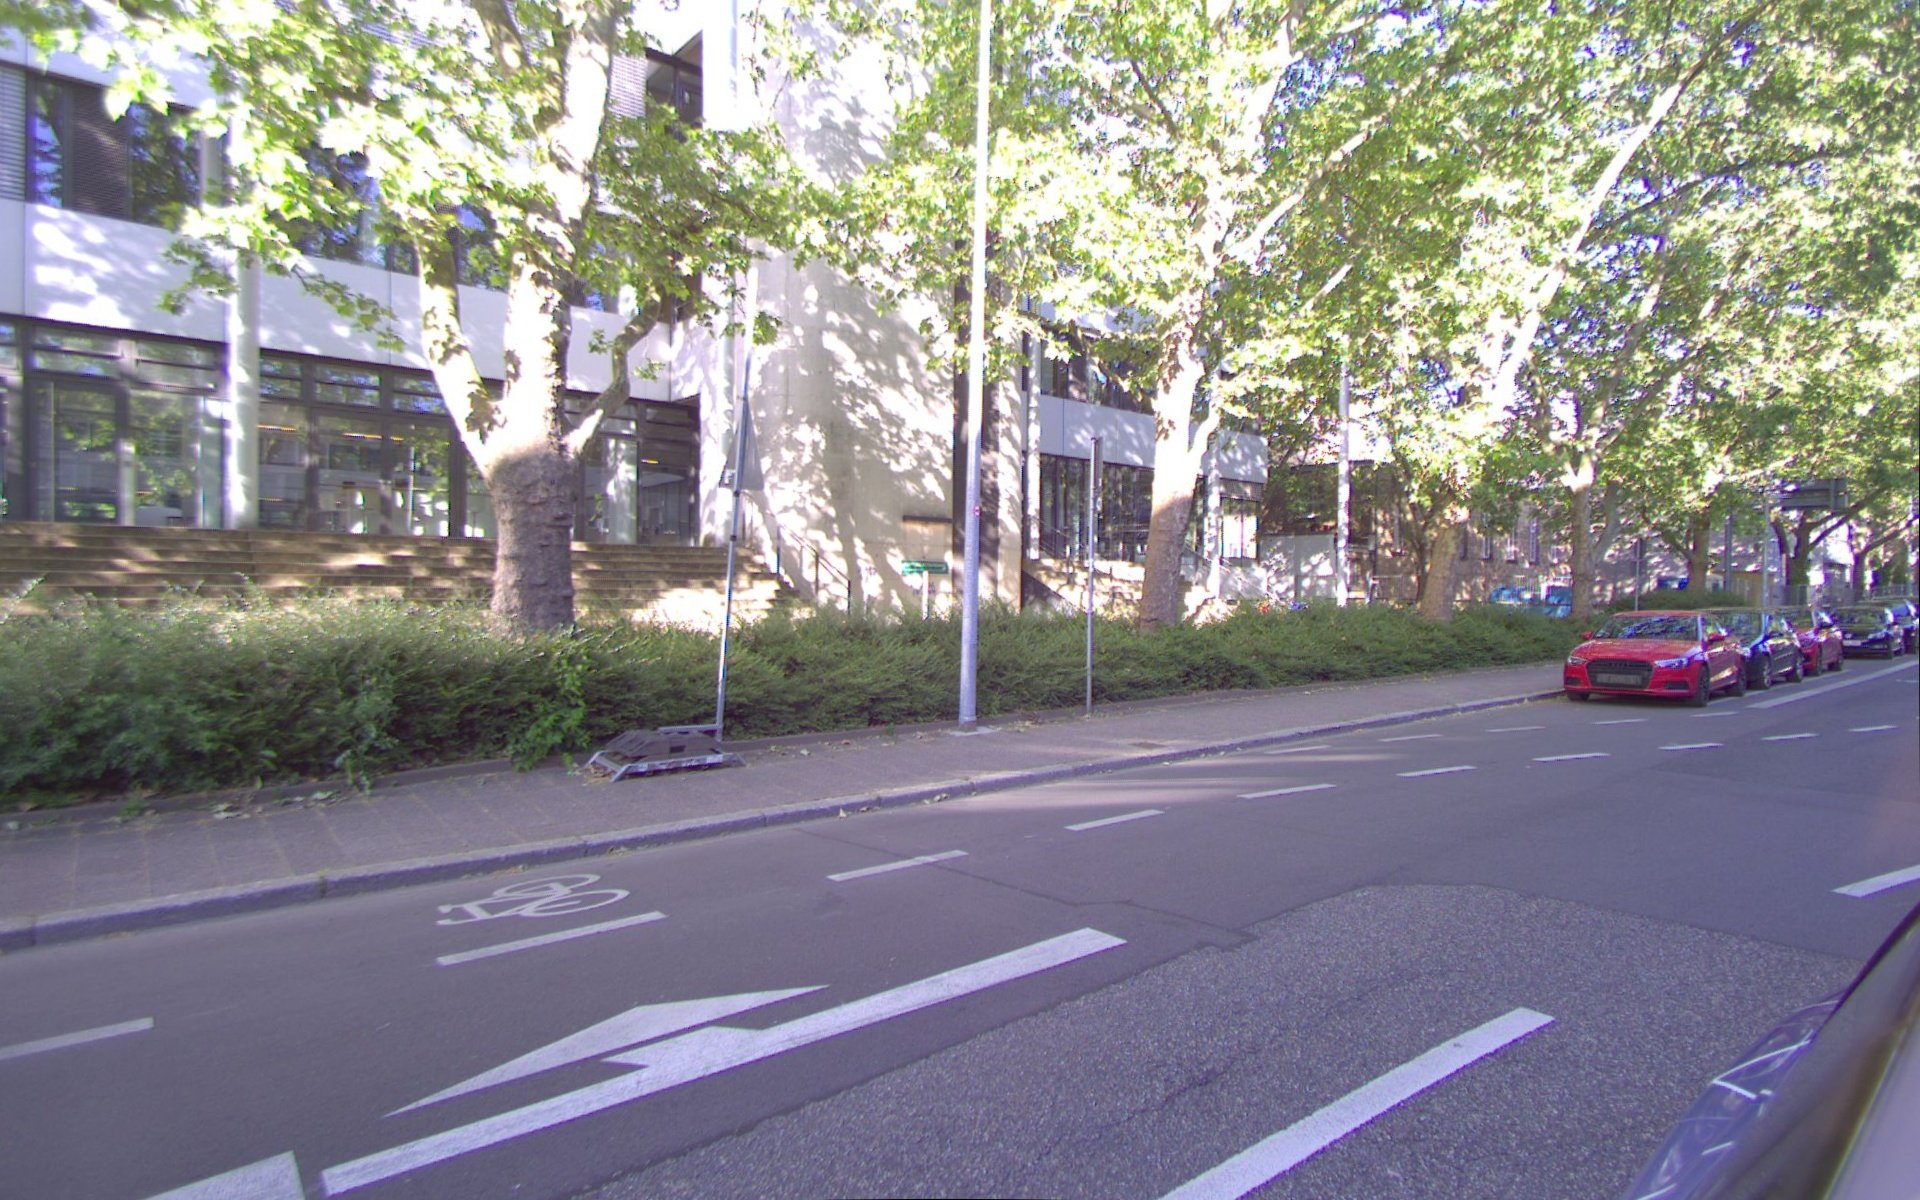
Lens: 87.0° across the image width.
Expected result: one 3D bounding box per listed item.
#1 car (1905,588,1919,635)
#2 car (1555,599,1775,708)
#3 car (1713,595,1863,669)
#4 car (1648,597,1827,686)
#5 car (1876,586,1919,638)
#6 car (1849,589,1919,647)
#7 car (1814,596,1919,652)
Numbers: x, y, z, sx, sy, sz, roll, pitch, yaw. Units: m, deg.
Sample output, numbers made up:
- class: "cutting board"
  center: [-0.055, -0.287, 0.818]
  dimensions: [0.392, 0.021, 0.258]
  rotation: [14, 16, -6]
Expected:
- class: "car"
  center: [38.874, 0.445, 39.960]
  dimensions: [4.403, 1.781, 1.865]
  rotation: [0, 0, -41]
- class: "car"
  center: [11.317, 0.740, 16.135]
  dimensions: [4.403, 1.469, 1.865]
  rotation: [0, 0, -41]
- class: "car"
  center: [18.433, 0.638, 22.472]
  dimensions: [4.403, 1.469, 1.865]
  rotation: [0, 0, -41]
- class: "car"
  center: [14.765, 0.693, 19.135]
  dimensions: [4.403, 1.469, 1.865]
  rotation: [0, 0, -41]
- class: "car"
  center: [33.907, 0.396, 35.690]
  dimensions: [4.403, 1.781, 1.865]
  rotation: [0, 0, -41]
- class: "car"
  center: [29.569, 0.515, 31.800]
  dimensions: [4.403, 1.689, 1.865]
  rotation: [0, 0, -41]
- class: "car"
  center: [25.789, 0.622, 28.606]
  dimensions: [4.403, 1.469, 1.865]
  rotation: [0, 0, -41]
